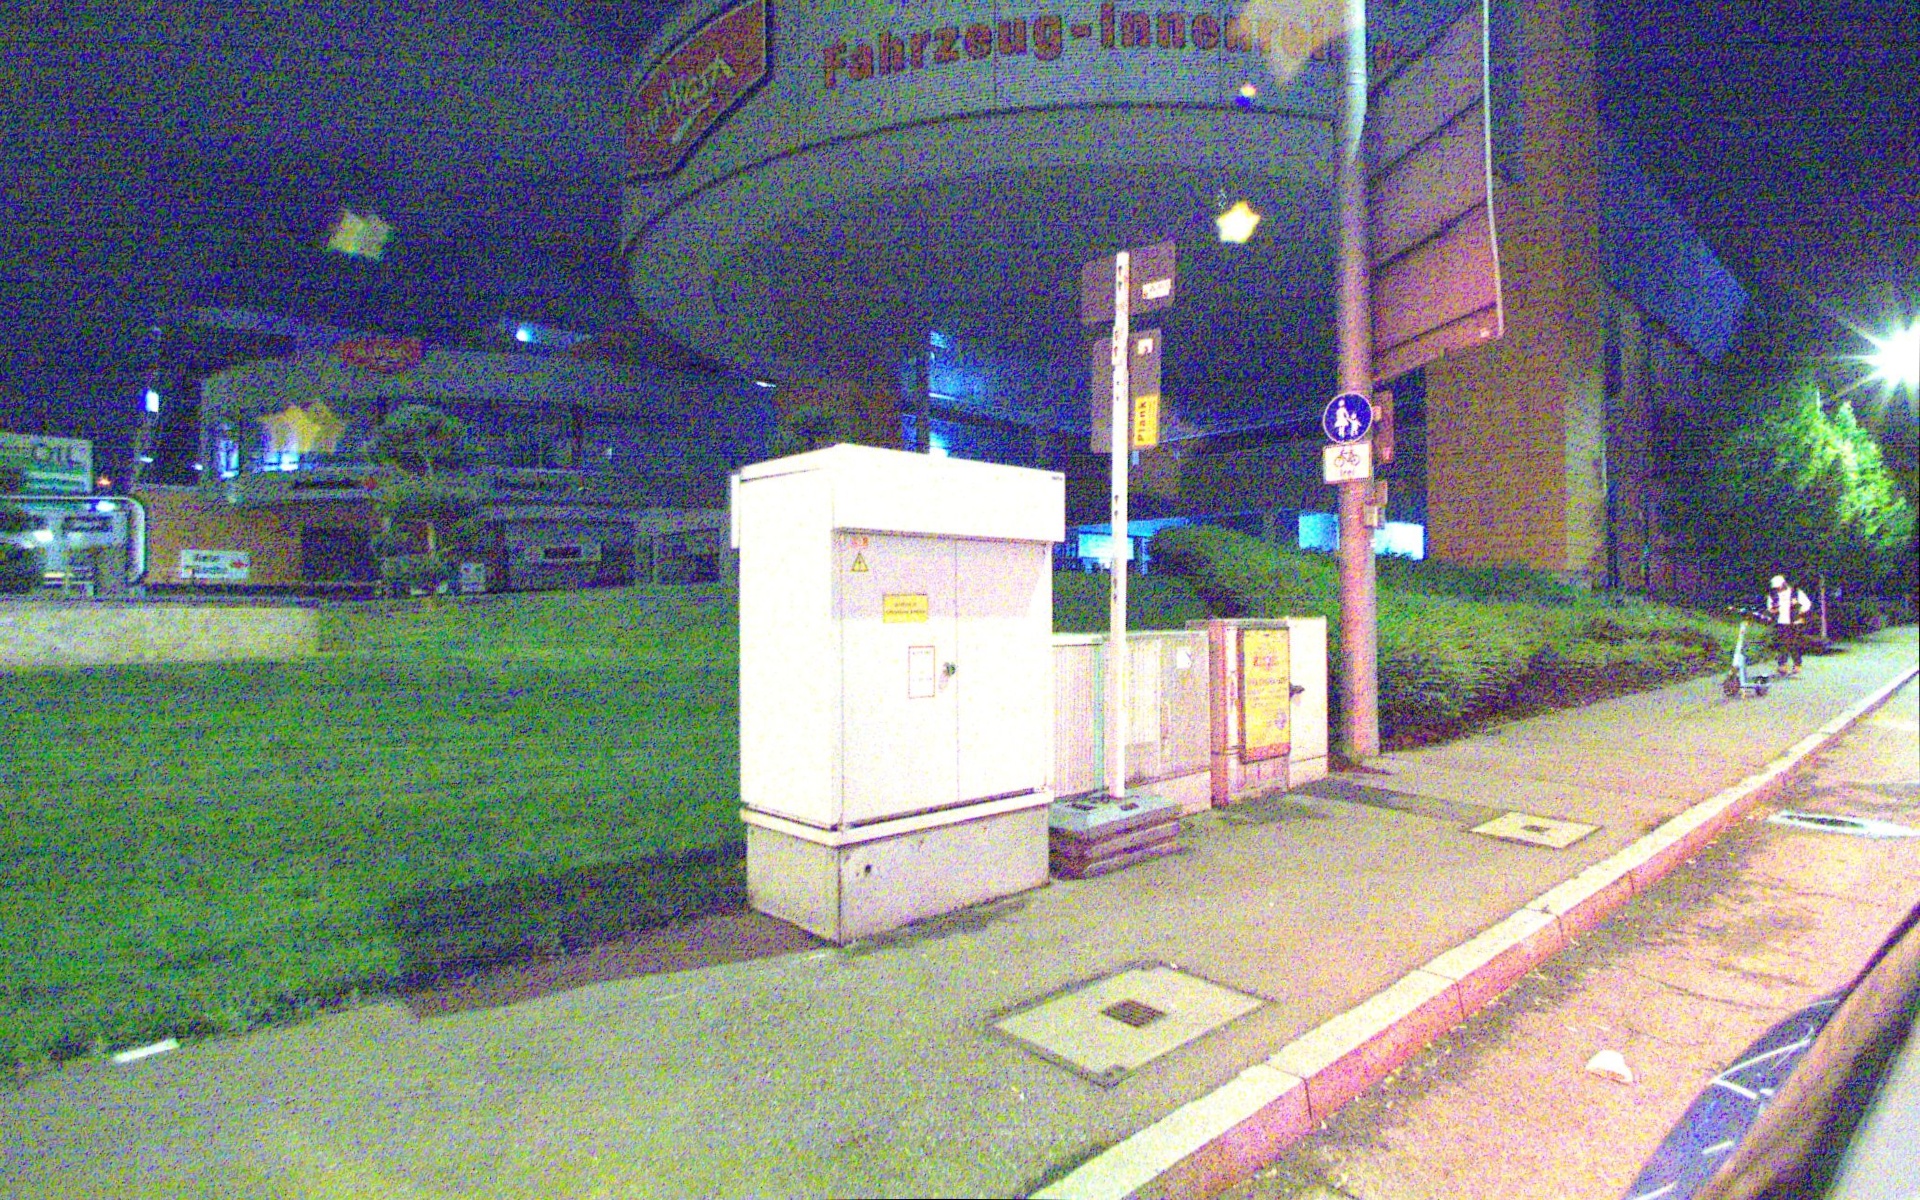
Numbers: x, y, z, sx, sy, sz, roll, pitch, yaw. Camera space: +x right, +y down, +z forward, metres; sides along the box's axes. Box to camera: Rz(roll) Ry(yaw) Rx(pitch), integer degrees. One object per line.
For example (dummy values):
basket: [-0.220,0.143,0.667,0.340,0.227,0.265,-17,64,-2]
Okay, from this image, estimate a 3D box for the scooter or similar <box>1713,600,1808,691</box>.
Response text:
scooter or similar: [11.029,0.621,13.943,1.111,1.217,0.470,1,-1,-17]

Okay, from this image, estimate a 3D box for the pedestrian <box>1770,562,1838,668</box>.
pedestrian: [15.661,0.261,18.779,1.016,1.888,0.819,0,0,-41]
